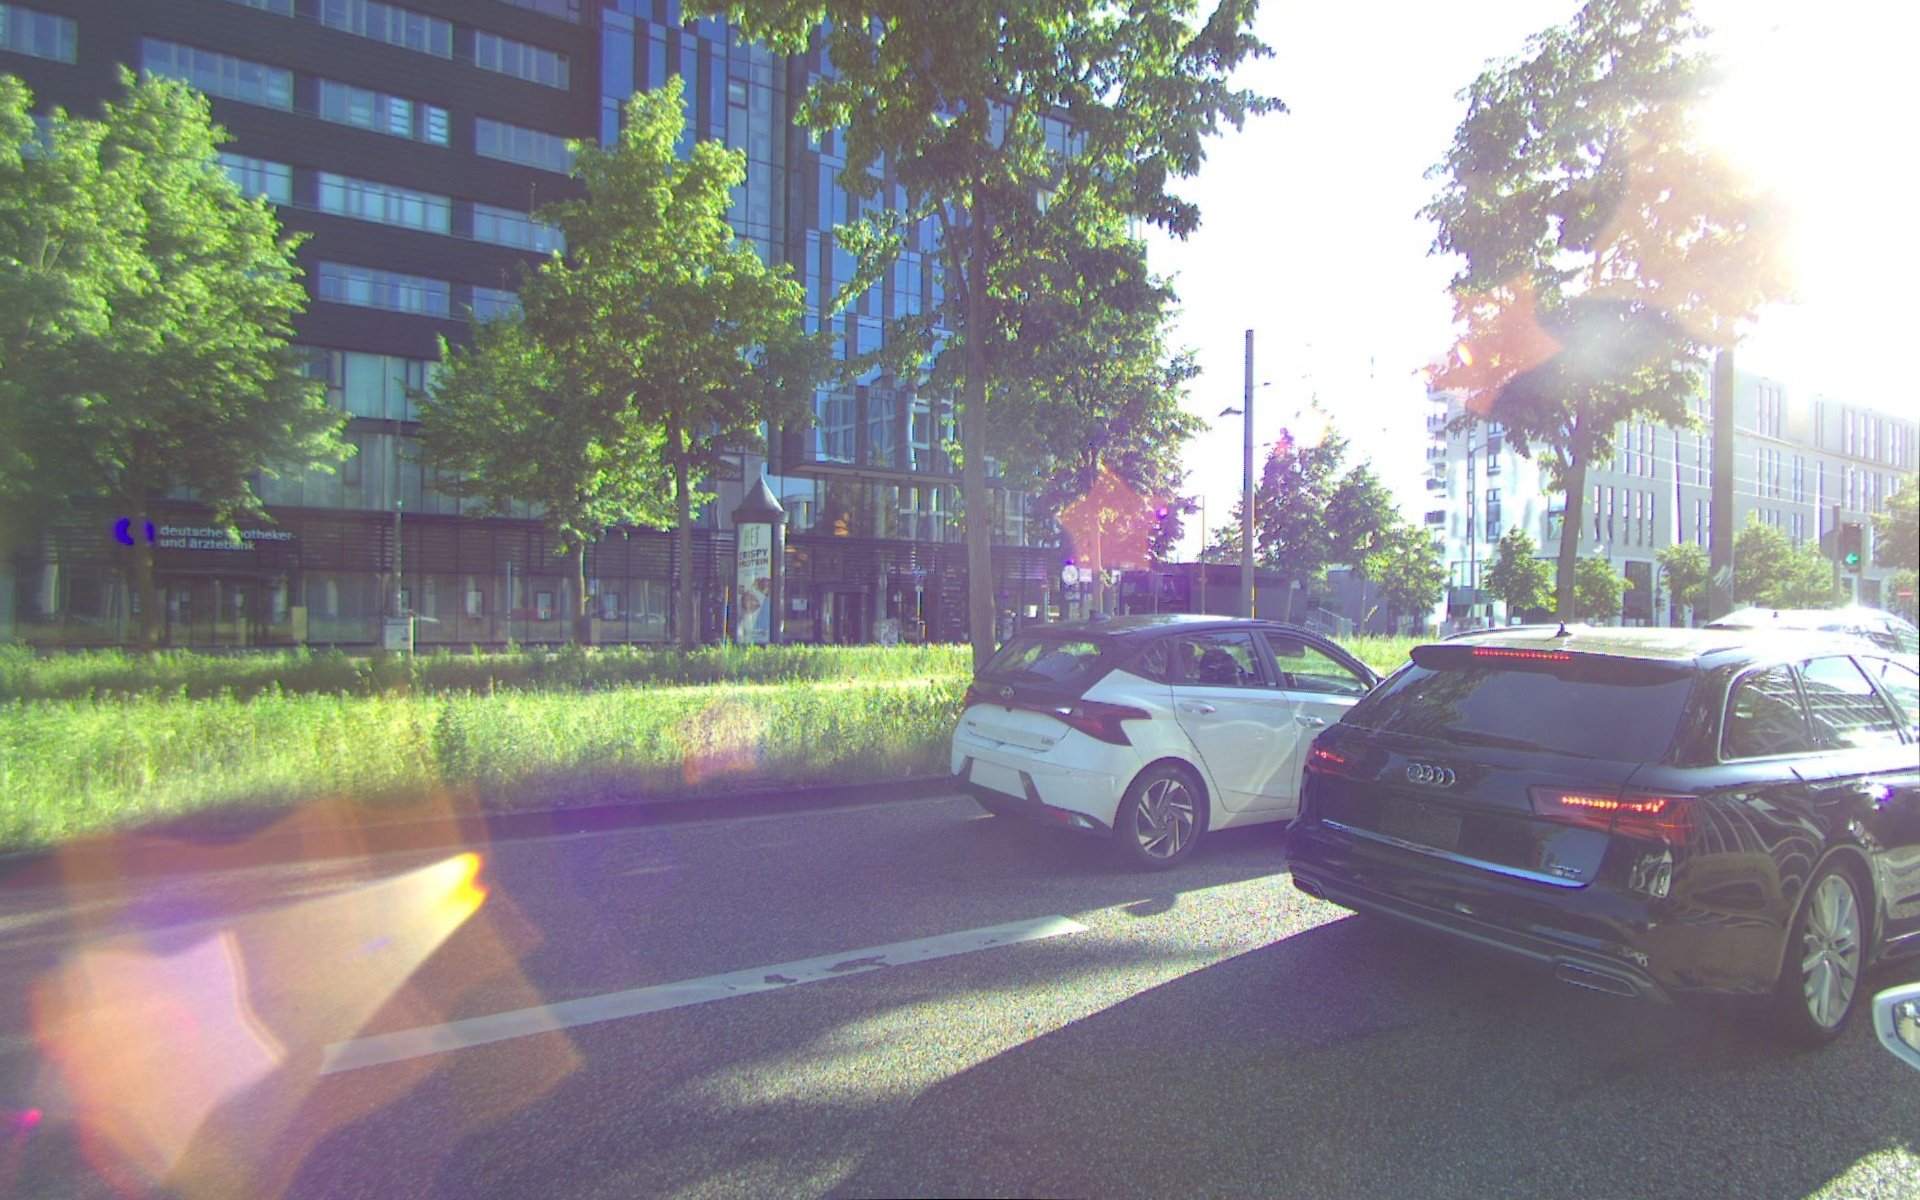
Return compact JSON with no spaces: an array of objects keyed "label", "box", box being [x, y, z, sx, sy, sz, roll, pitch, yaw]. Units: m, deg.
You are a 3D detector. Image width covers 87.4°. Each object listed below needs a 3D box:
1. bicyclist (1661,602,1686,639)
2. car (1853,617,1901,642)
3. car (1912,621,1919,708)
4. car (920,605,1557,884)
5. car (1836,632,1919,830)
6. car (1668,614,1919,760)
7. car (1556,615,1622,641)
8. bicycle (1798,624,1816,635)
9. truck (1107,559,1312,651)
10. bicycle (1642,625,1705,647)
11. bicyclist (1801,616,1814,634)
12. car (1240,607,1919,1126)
[{"label":"bicyclist","box":[41.458,1.210,58.396,0.808,2.120,0.935,1,-1,-31]},{"label":"car","box":[78.100,2.522,85.524,3.953,2.040,1.984,1,-1,-30]},{"label":"car","box":[19.056,1.210,18.037,4.519,1.503,1.788,1,3,-33]},{"label":"car","box":[2.117,0.802,7.213,4.515,1.467,1.790,1,-1,-31]},{"label":"car","box":[9.116,1.007,8.108,4.288,1.445,1.833,1,-1,-30]},{"label":"car","box":[10.400,0.910,12.281,4.531,1.467,1.784,1,-1,-40]},{"label":"car","box":[37.533,1.656,59.904,3.953,1.540,1.756,1,-1,-30]},{"label":"bicycle","box":[76.744,2.699,91.037,1.933,1.001,0.673,1,-1,-31]},{"label":"truck","box":[11.696,0.296,46.499,10.094,3.904,2.877,1,-1,-31]},{"label":"bicycle","box":[41.442,2.057,58.379,0.808,1.206,2.927,1,-1,-31]},{"label":"bicyclist","box":[76.835,2.265,91.092,0.706,1.549,0.674,1,0,-30]},{"label":"car","box":[3.832,0.825,5.015,4.911,1.504,1.864,1,-1,-32]}]
